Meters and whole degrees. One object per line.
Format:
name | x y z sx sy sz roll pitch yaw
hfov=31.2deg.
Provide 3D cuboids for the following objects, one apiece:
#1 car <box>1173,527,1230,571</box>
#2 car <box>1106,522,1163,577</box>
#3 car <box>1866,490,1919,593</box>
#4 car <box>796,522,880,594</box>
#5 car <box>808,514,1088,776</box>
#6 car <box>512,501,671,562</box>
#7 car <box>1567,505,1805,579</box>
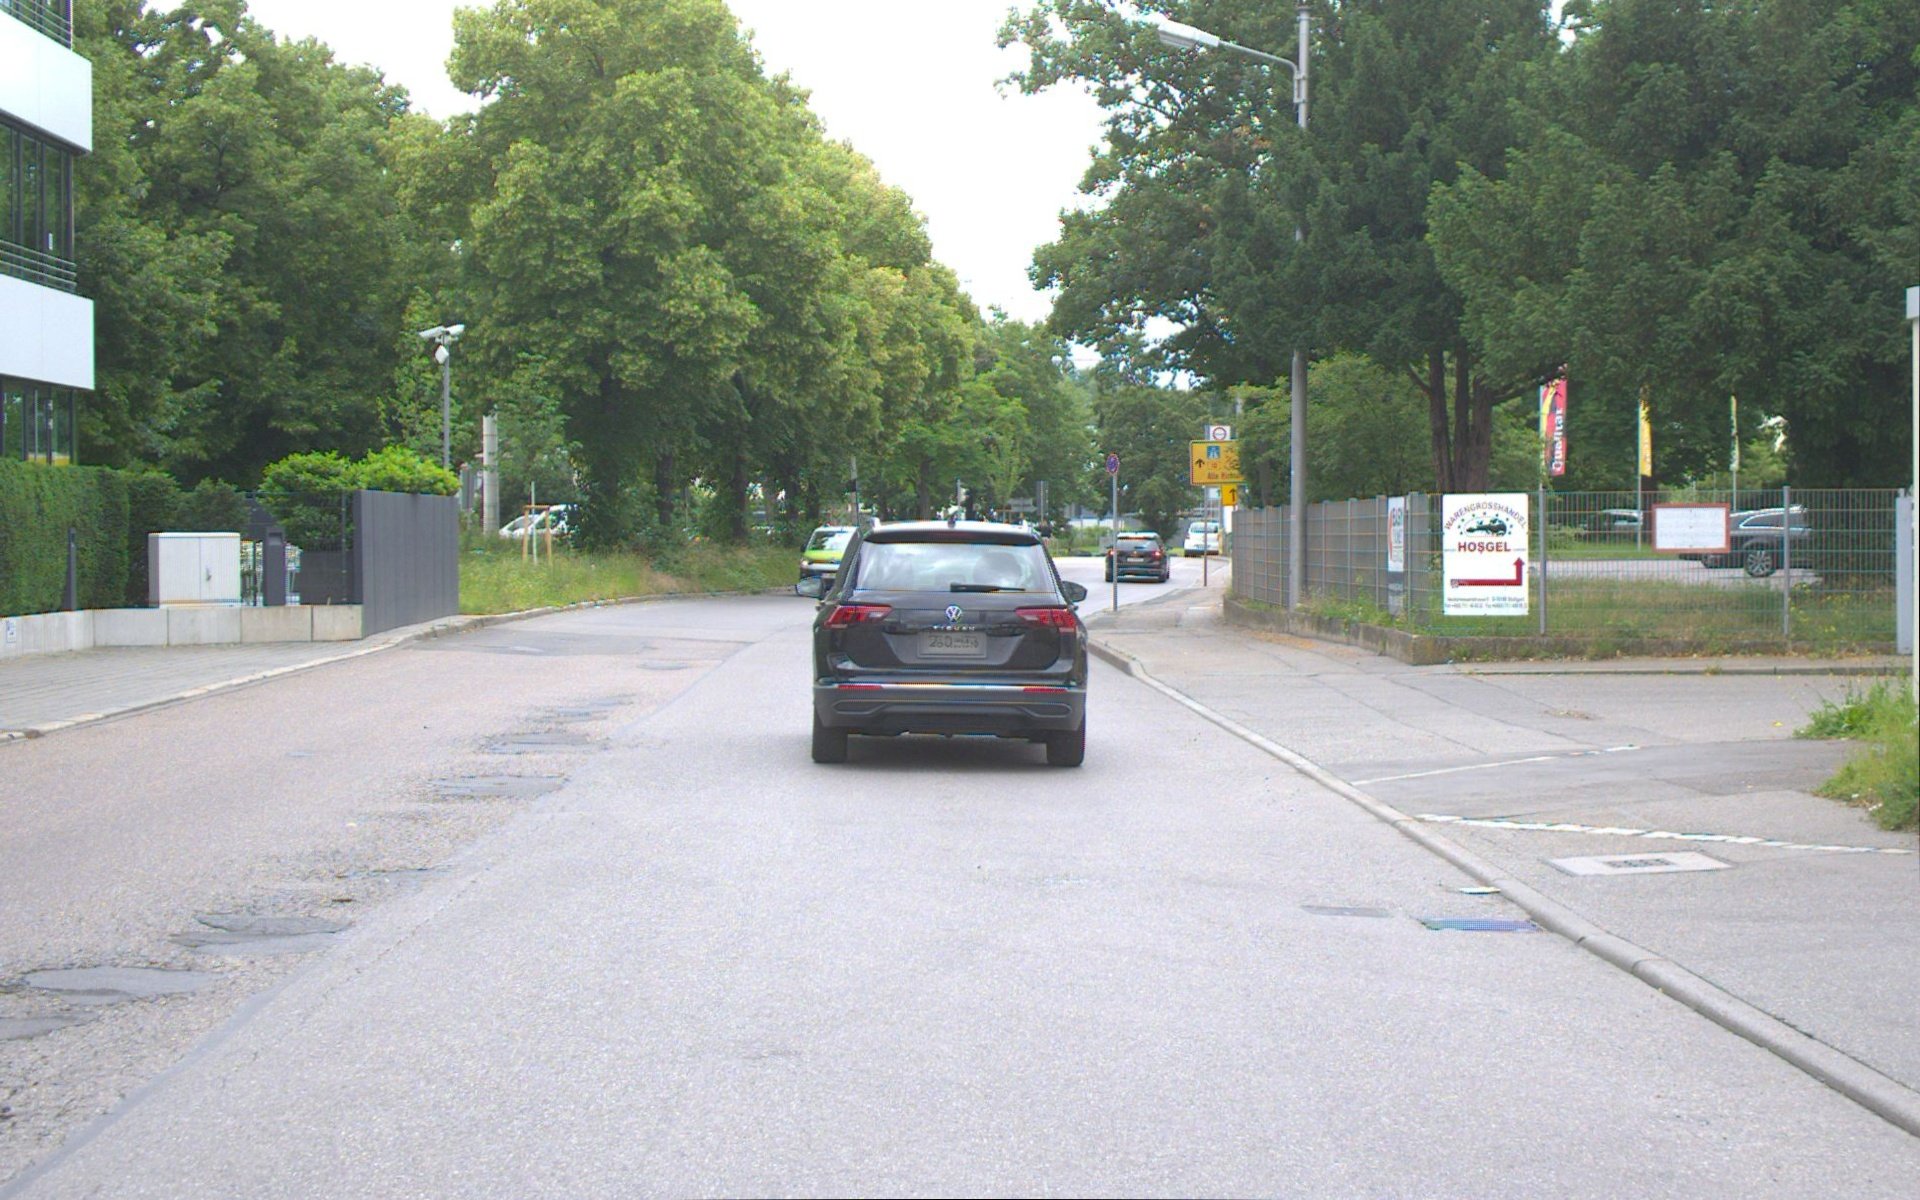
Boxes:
car | 10.149 -2.153 144.364 1.994 1.780 3.999 1 1 10
car | 5.215 -1.516 102.828 1.659 1.569 3.828 -1 1 3
car | 16.030 -1.022 56.394 1.994 1.561 4.440 -3 1 12
car | -3.073 -1.080 87.151 1.808 1.758 4.205 1 1 2
car | -0.042 0.268 23.548 1.739 1.612 3.641 1 0 1
car | -14.834 -2.783 138.663 6.070 2.379 2.395 0 1 2
car | 15.553 -1.241 73.832 1.994 1.469 4.691 -2 1 -42
